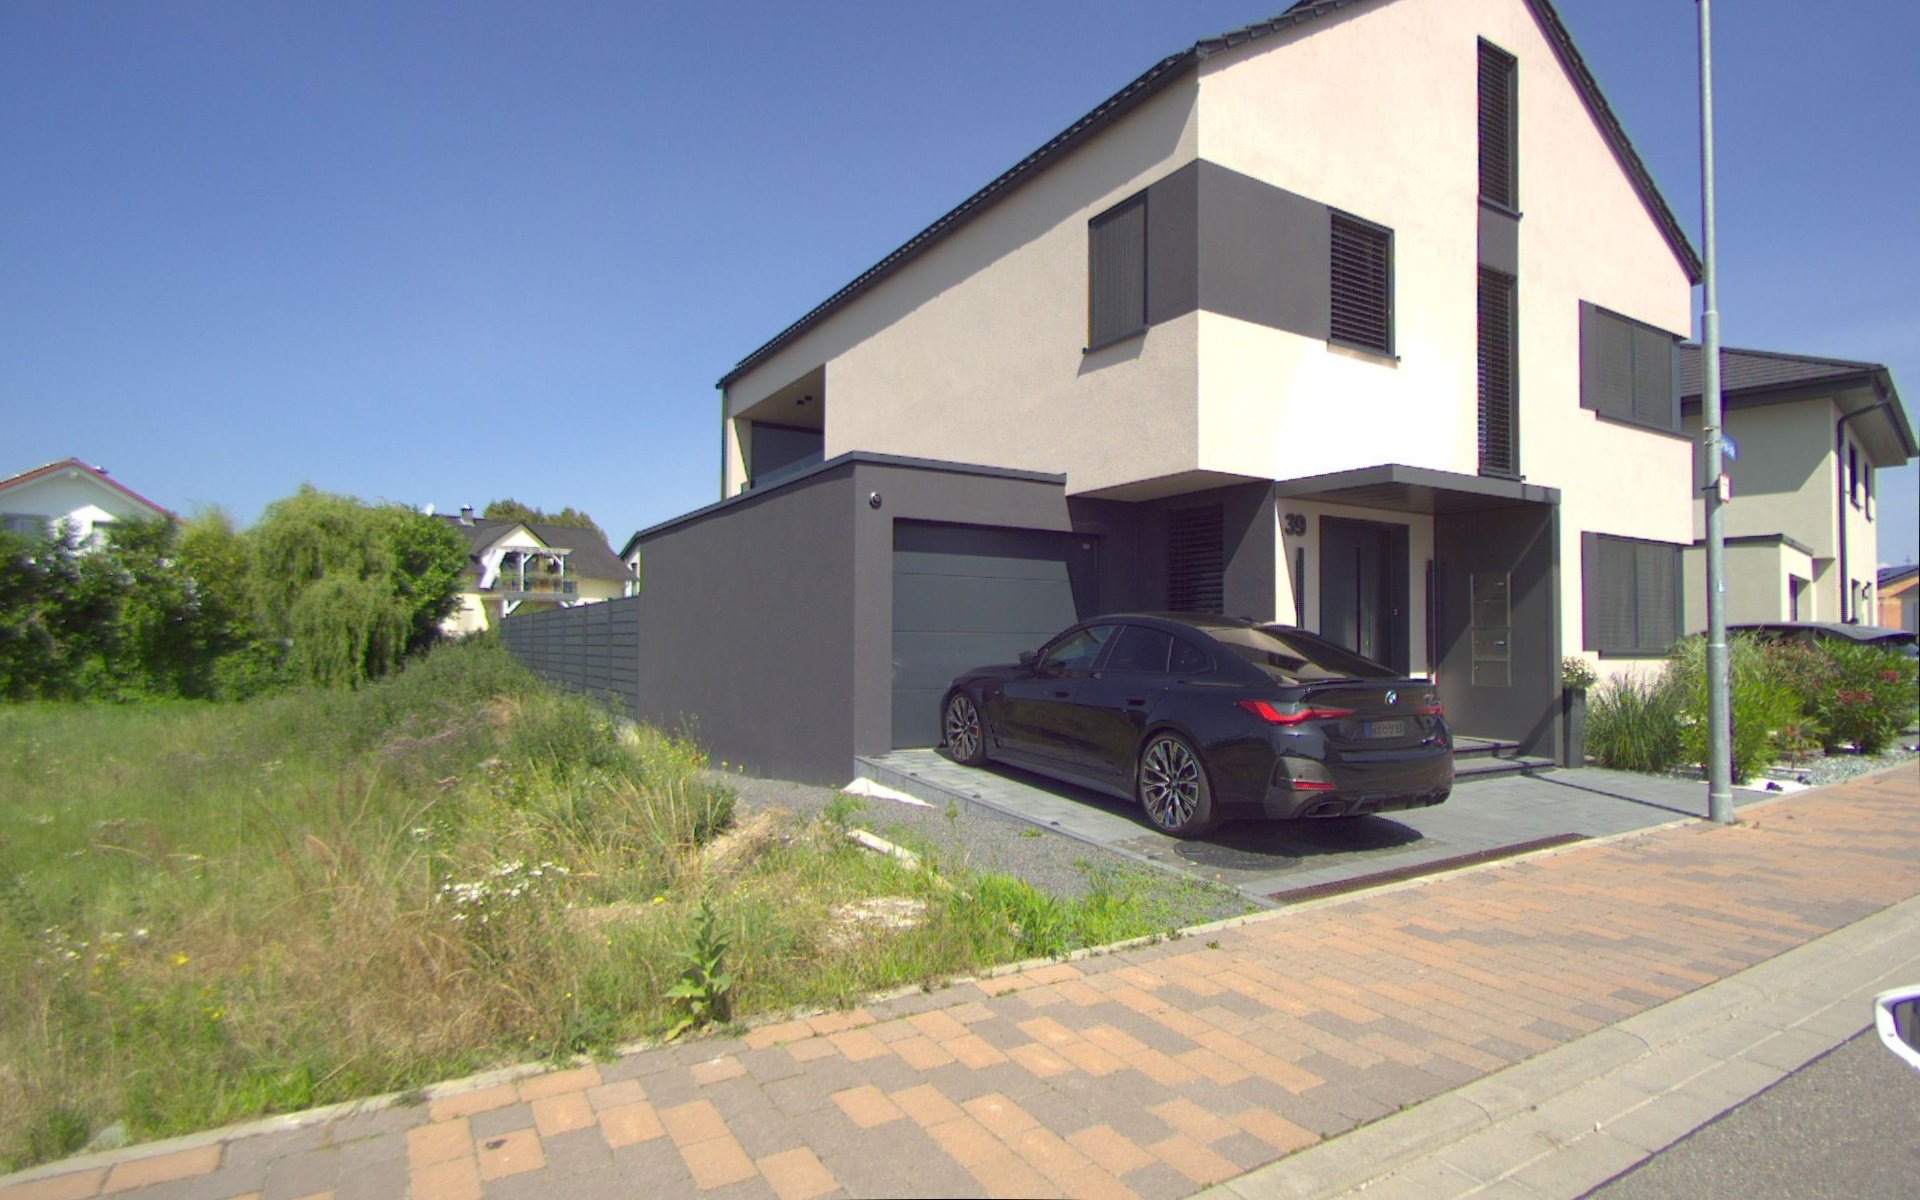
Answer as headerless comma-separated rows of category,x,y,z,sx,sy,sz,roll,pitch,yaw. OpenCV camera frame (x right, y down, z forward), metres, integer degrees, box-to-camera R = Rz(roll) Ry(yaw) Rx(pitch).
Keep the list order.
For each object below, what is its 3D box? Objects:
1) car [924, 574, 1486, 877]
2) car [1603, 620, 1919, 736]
car,1.516,0.755,7.833,1.750,1.653,4.355,2,-2,-30
car,12.259,1.072,15.170,1.733,1.506,3.971,1,-2,-28
